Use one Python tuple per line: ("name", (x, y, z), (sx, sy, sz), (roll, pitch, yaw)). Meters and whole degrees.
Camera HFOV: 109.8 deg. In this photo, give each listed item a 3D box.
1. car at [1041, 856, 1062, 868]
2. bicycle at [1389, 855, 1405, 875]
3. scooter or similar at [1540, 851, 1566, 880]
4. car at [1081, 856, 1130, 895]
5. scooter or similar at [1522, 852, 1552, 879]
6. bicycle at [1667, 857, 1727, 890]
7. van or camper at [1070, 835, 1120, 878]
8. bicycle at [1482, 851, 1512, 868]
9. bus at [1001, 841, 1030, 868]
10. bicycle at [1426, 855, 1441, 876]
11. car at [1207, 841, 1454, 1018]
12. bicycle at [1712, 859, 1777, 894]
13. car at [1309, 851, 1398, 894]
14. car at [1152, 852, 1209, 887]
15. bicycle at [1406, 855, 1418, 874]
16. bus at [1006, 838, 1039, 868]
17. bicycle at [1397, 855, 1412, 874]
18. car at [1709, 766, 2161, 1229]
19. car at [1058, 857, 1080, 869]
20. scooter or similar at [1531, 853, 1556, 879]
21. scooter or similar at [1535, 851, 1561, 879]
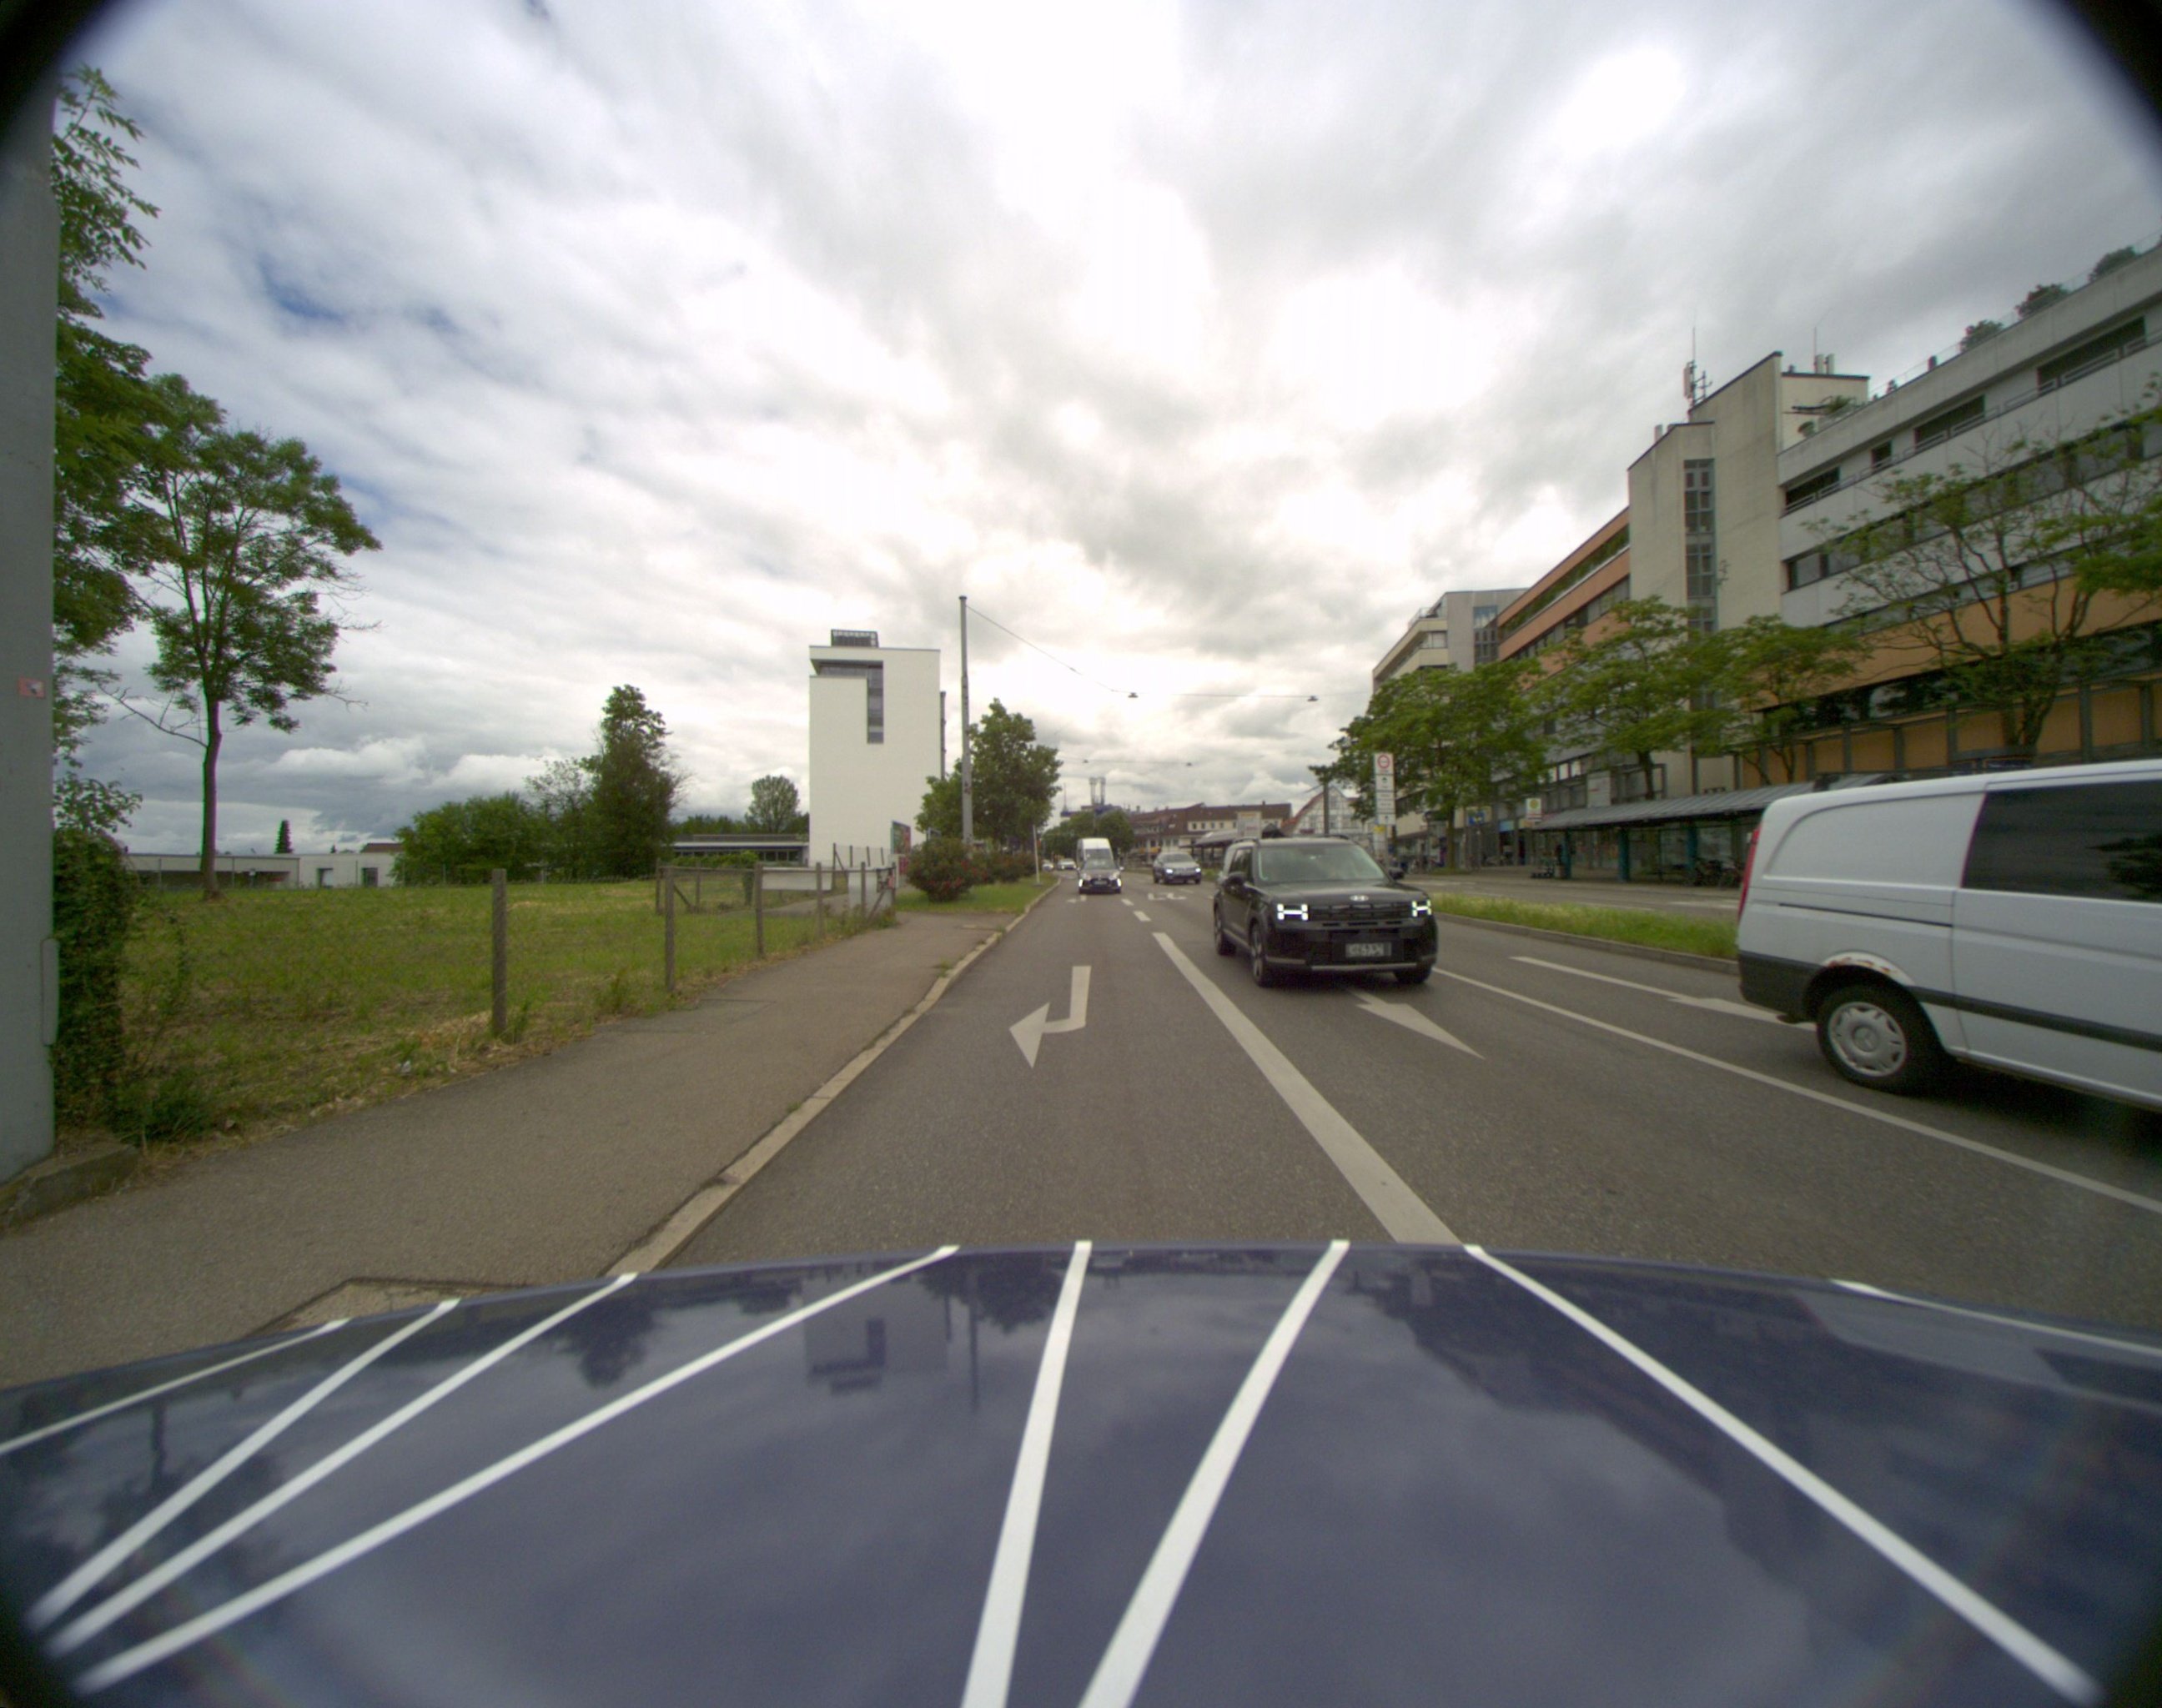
("car", (-3.604, 0.982, 93.141), (2.000, 1.368, 3.996), (-1, 0, -11))
("bicycle", (20.219, 0.664, 48.588), (0.625, 1.246, 1.687), (0, 1, 33))
("scooter or similar", (23.171, 0.560, 37.277), (1.205, 1.415, 0.259), (-1, 1, -7))
("car", (0.995, 0.852, 30.948), (1.863, 1.516, 4.001), (0, -1, 2))
("scooter or similar", (22.915, 0.568, 38.157), (1.325, 1.262, 0.339), (-2, 1, -7))
("bicycle", (23.792, 0.732, 29.341), (2.072, 1.147, 0.711), (-3, 1, -15))
("van or camper", (0.846, 0.226, 51.403), (2.281, 2.690, 6.991), (0, -1, -8))
("bicycle", (32.782, 0.448, 59.849), (1.970, 1.311, 0.706), (0, 1, 16))
("bus", (-8.481, 0.094, 96.997), (2.722, 3.089, 8.863), (5, -2, -10))
("bicycle", (22.196, 0.718, 47.874), (0.625, 1.246, 1.687), (0, 1, 33))
("car", (2.894, 0.775, 9.993), (1.927, 1.741, 4.679), (-1, 0, 3))
("bicycle", (23.744, 0.804, 27.183), (2.073, 1.147, 0.711), (-2, 1, -15))
("car", (10.641, 0.673, 30.044), (1.998, 1.565, 4.516), (0, 0, 2))
("car", (5.063, 0.753, 39.222), (1.999, 1.640, 4.392), (-2, 0, -5))
("bicycle", (21.678, 0.685, 49.785), (0.431, 1.246, 1.474), (0, 0, 36))
("bus", (-6.908, 0.005, 88.133), (2.722, 3.144, 9.120), (3, -1, -10))
("bicycle", (21.511, 0.695, 50.545), (0.625, 1.246, 1.687), (0, 0, 34))
("car", (5.577, 0.582, 3.056), (1.878, 2.002, 5.076), (-3, 0, 1))
("car", (-1.482, 1.132, 94.050), (2.000, 1.368, 3.996), (-1, 0, -11))
("scooter or similar", (23.011, 0.608, 37.806), (1.131, 1.288, 0.268), (-1, 1, -8))
("scooter or similar", (23.085, 0.549, 37.538), (1.205, 1.377, 0.222), (-1, 1, -7))
